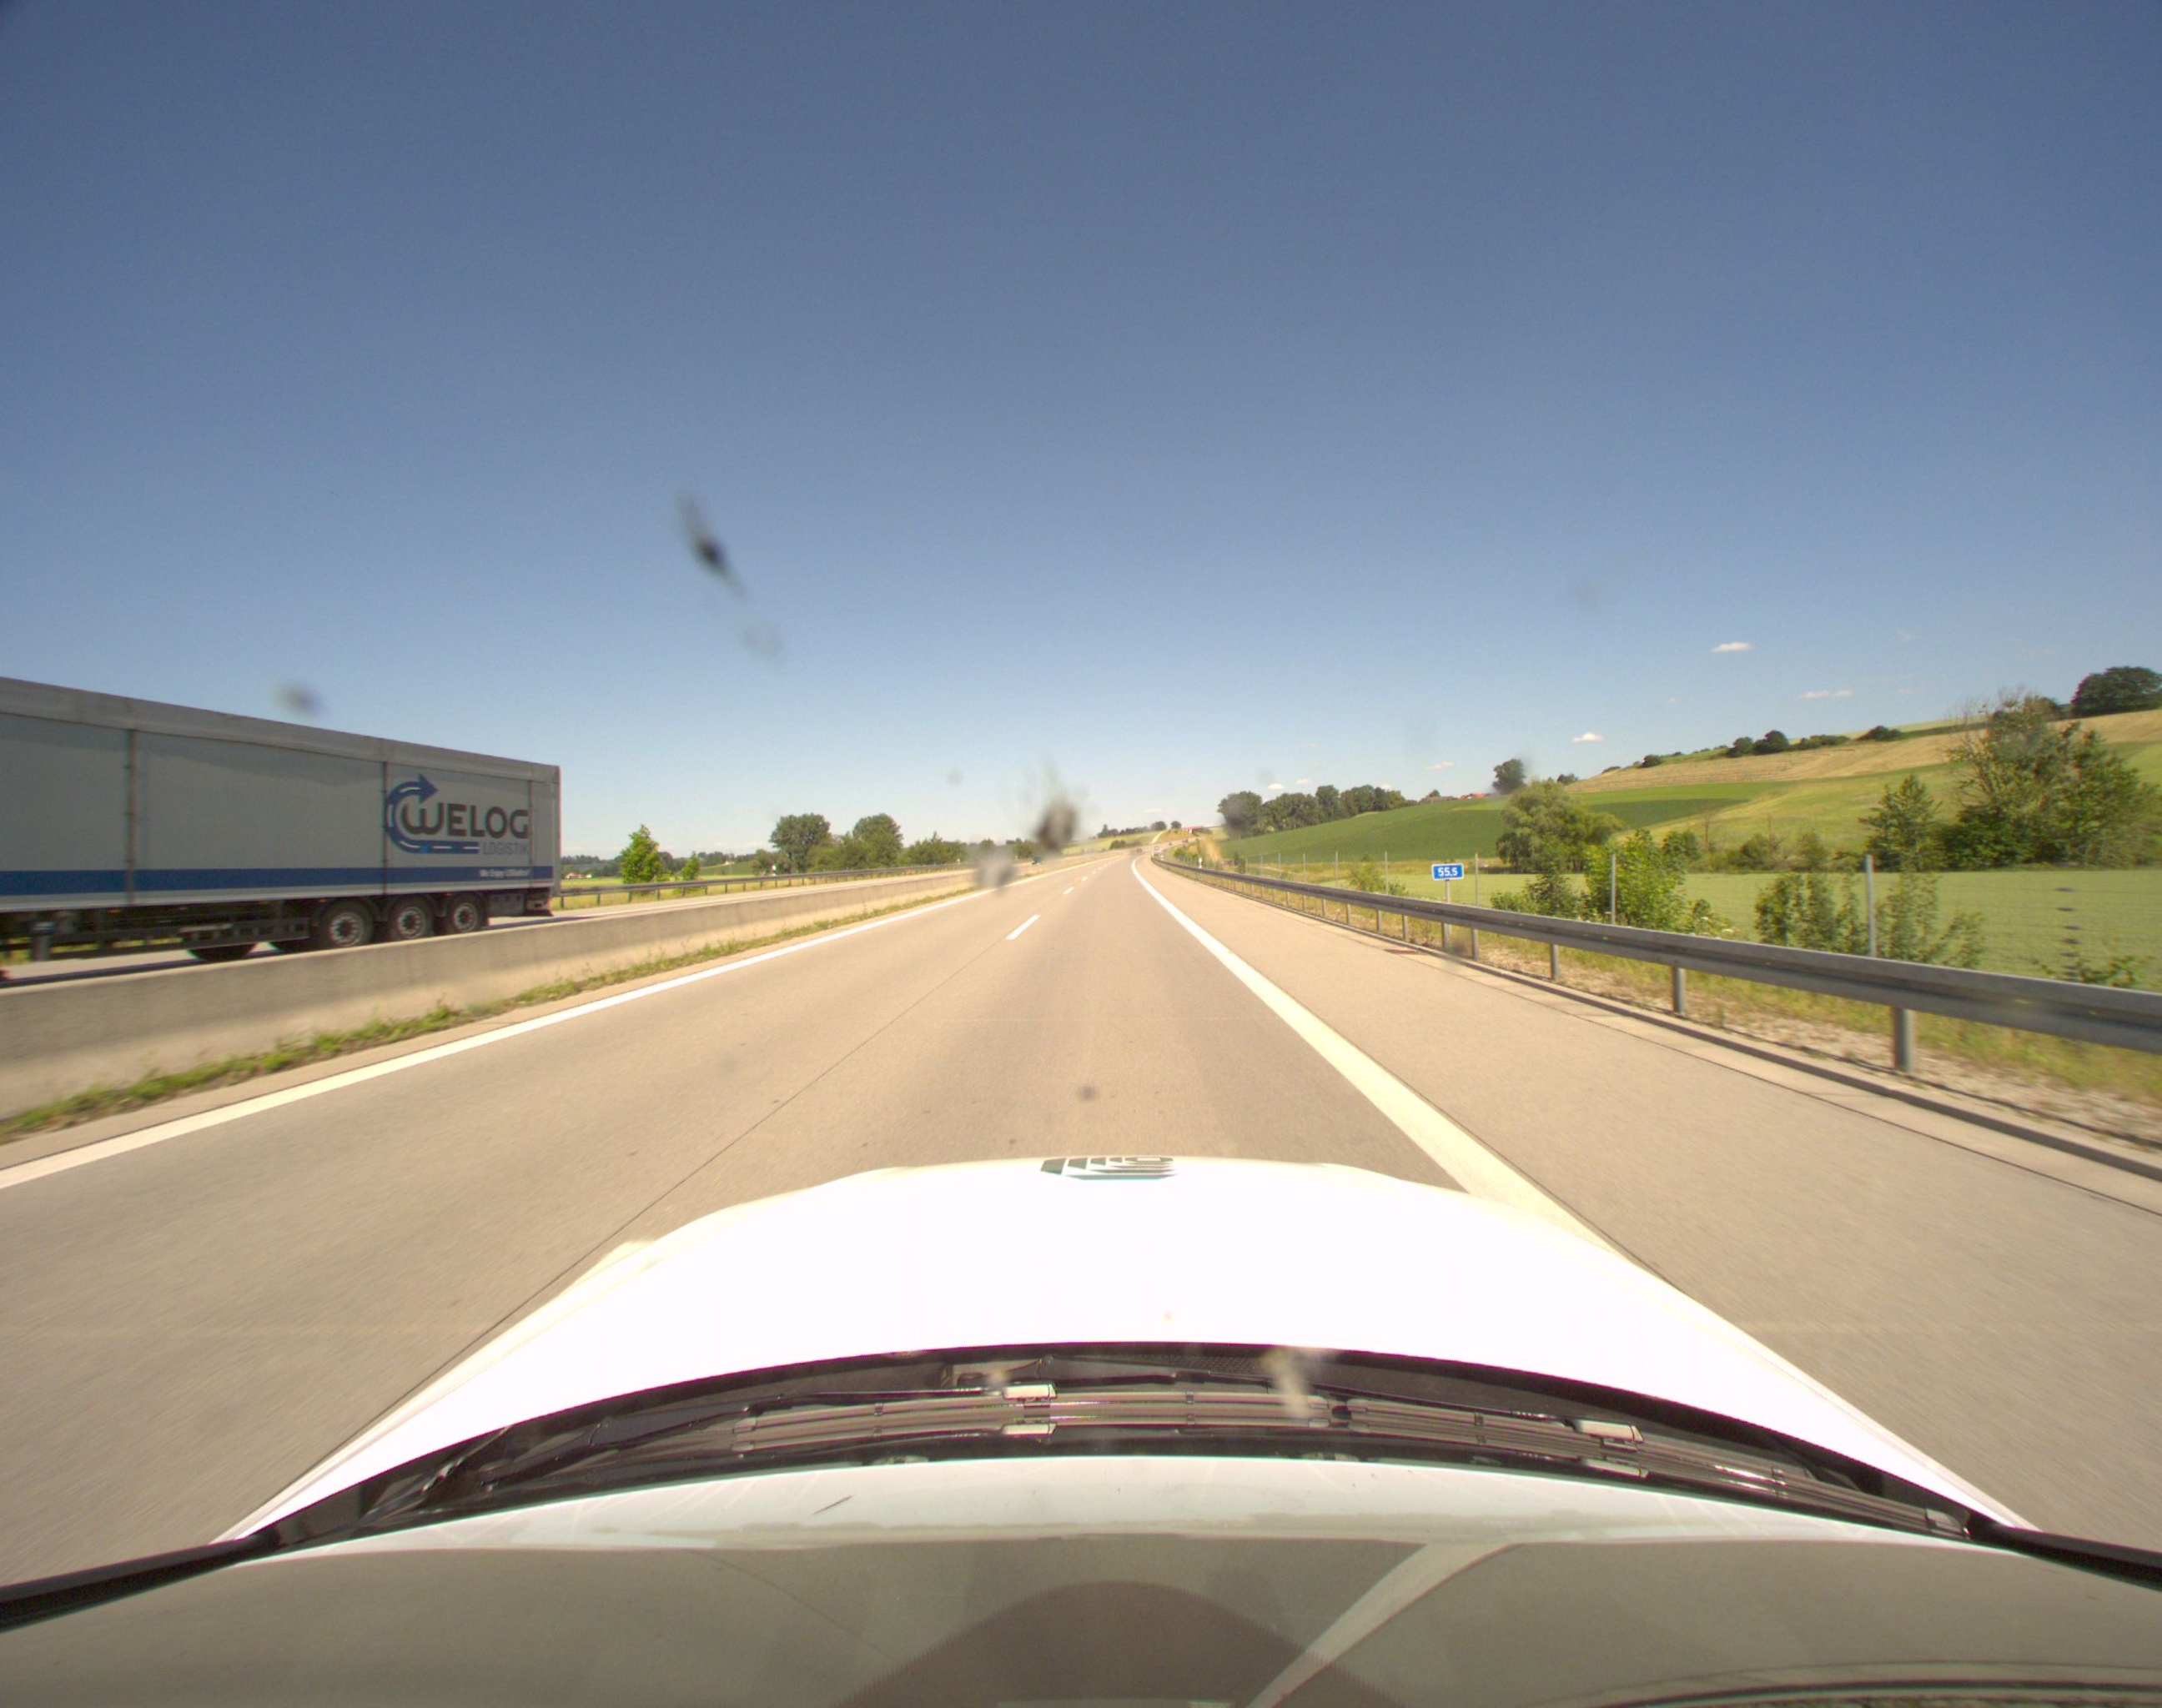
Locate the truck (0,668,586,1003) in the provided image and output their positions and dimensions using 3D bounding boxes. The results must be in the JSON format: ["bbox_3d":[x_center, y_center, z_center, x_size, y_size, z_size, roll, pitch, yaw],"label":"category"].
[{"bbox_3d":[-14.221,-0.162,13.679,2.849,4.008,13.874,-2,0,2],"label":"truck"}]

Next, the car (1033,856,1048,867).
[{"bbox_3d":[-5.743,1.079,115.701,1.704,1.589,4.629,0,-1,2],"label":"car"}]
